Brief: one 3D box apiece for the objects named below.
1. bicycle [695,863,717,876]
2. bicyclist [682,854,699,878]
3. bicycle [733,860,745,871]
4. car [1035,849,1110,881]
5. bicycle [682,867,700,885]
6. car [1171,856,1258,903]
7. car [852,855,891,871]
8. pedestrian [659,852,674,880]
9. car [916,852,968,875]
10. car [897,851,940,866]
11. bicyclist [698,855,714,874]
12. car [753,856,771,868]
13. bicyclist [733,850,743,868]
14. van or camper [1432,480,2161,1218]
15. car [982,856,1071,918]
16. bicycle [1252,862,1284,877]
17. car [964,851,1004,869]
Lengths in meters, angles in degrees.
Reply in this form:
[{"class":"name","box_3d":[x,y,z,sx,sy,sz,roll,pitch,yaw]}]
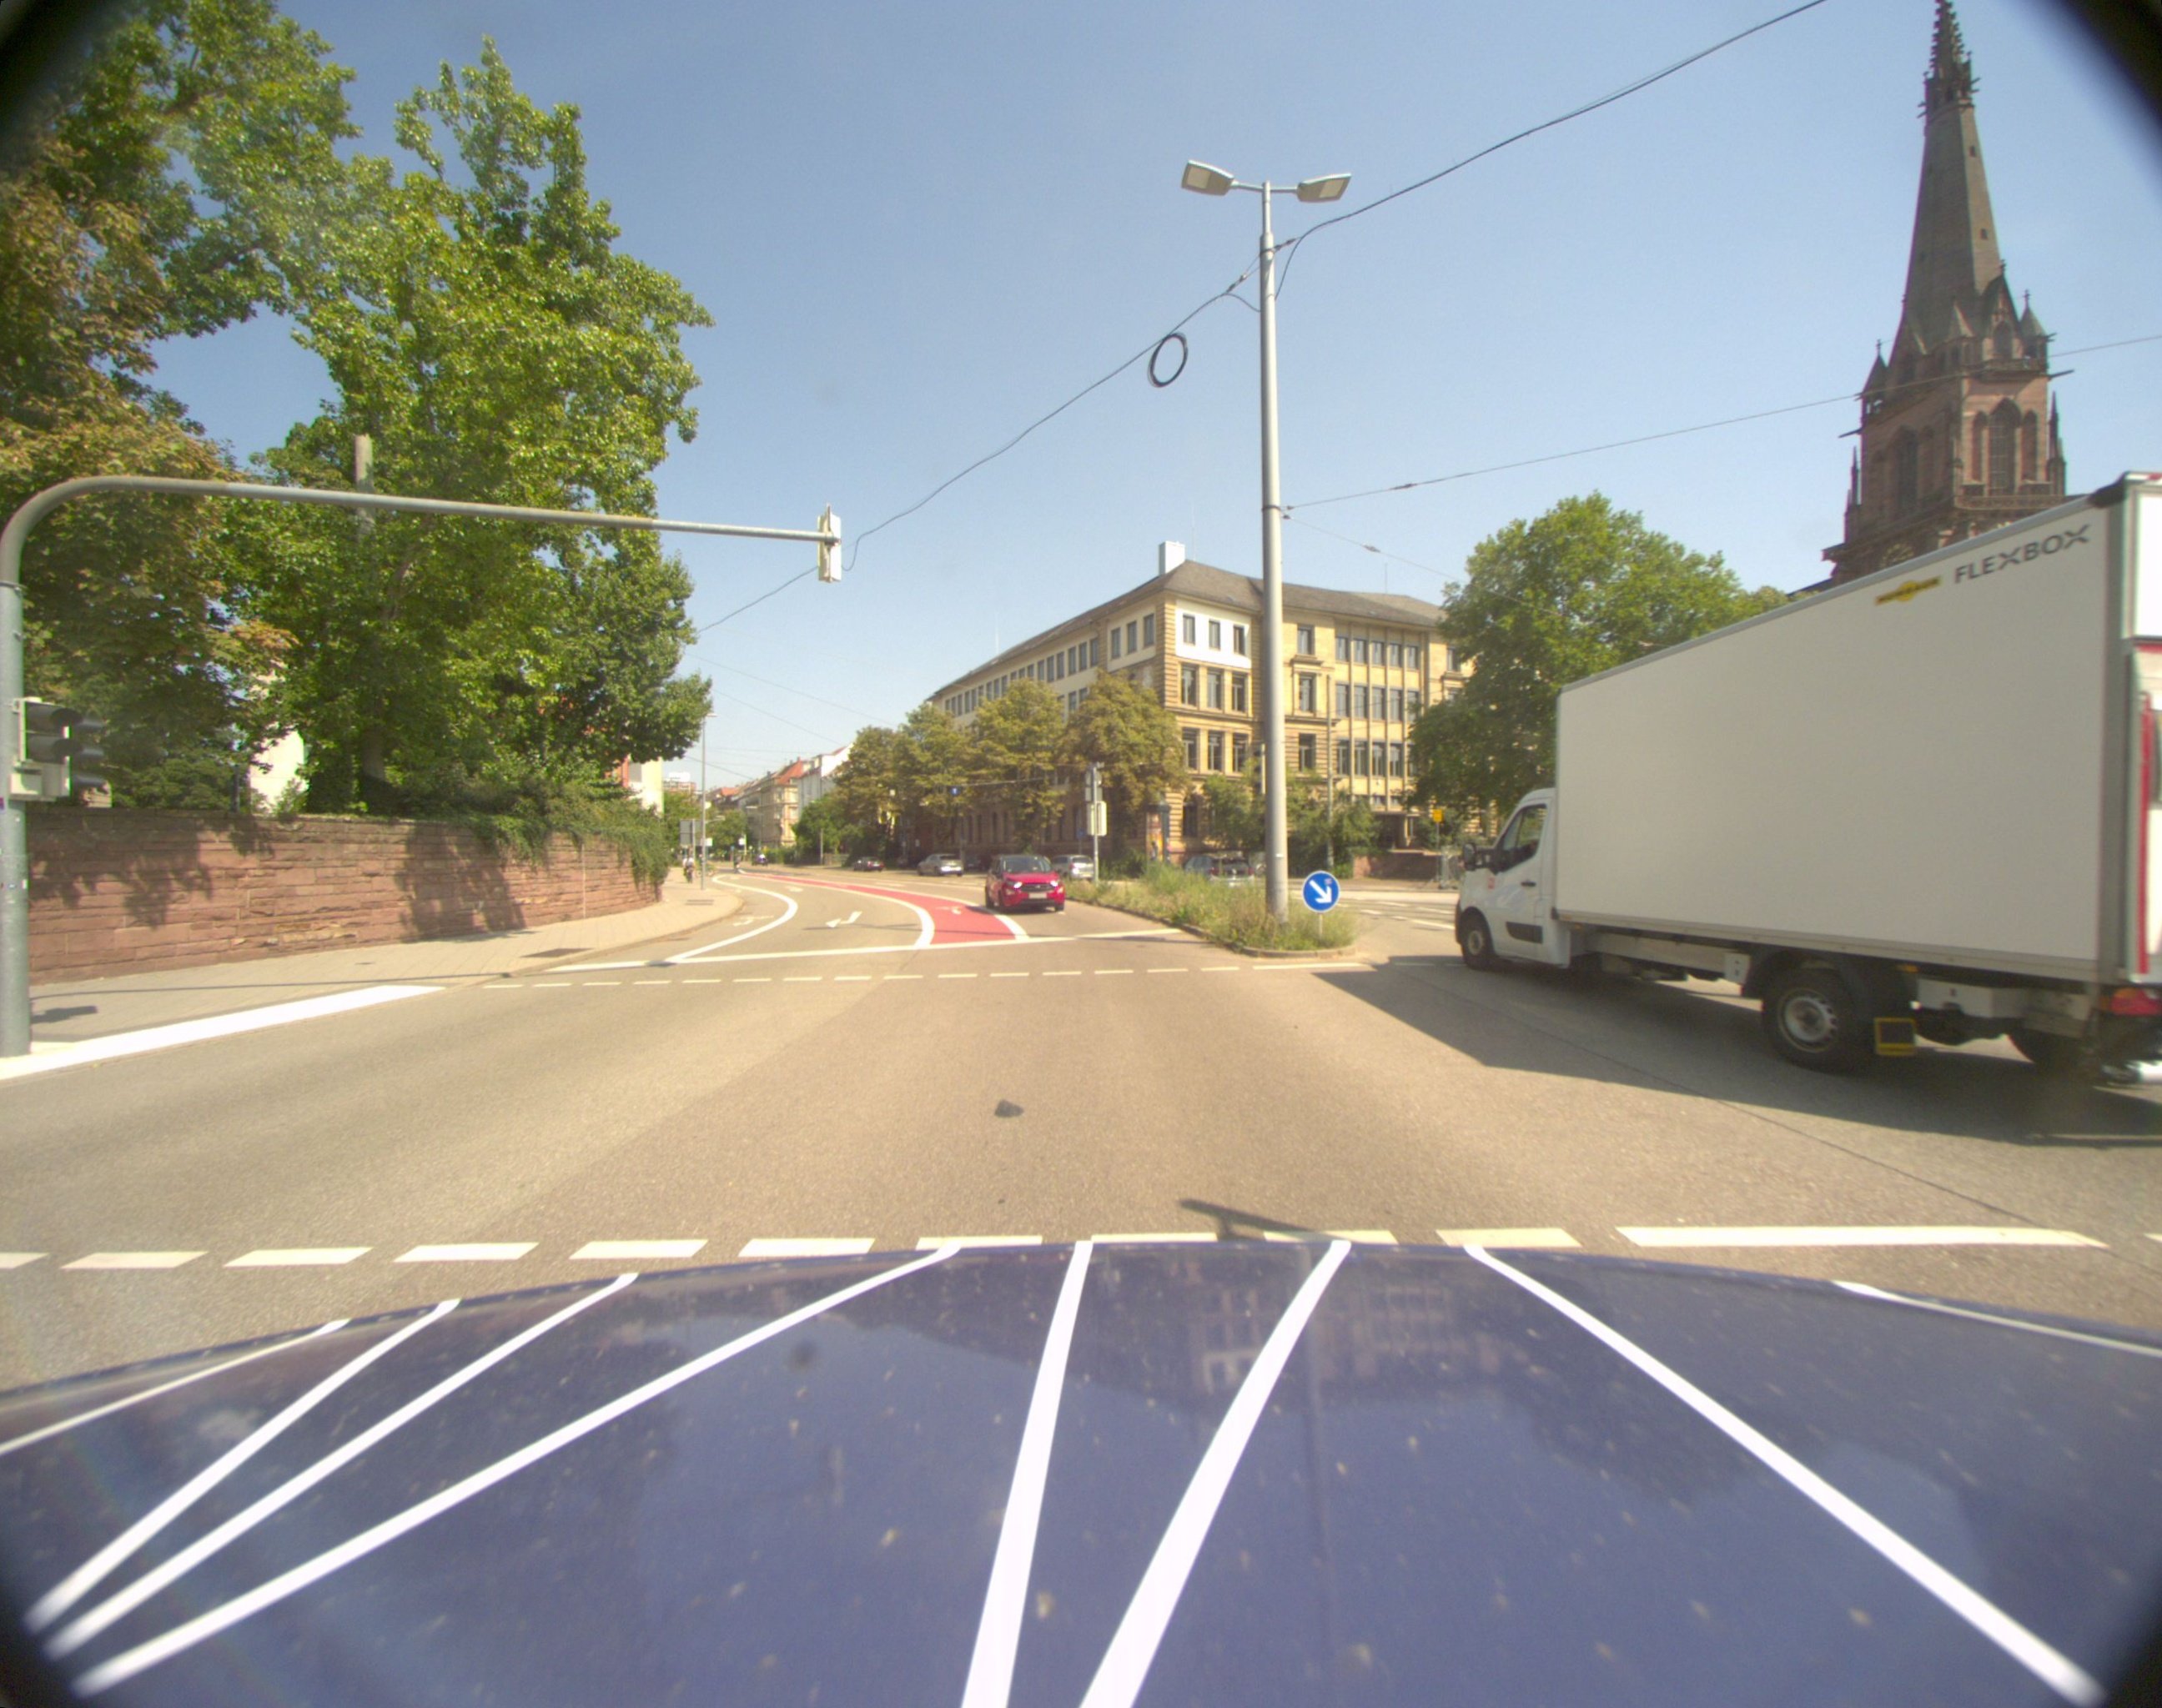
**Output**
[{"class":"bicycle","box_3d":[-29.974,1.242,60.736,0.615,0.994,1.713,0,-1,13]},{"class":"bicyclist","box_3d":[-23.322,0.738,45.375,0.748,1.403,0.959,-1,1,-33]},{"class":"bicycle","box_3d":[-30.806,1.013,68.357,0.617,0.994,1.706,0,0,-37]},{"class":"car","box_3d":[-0.498,0.521,38.826,1.659,1.521,4.314,-1,0,-35]},{"class":"bicycle","box_3d":[-23.373,1.301,45.507,0.743,1.043,2.227,-1,0,-33]},{"class":"car","box_3d":[4.696,0.848,27.292,1.702,1.521,4.179,0,0,-11]},{"class":"car","box_3d":[-18.868,0.819,68.290,1.696,1.370,4.605,-1,0,-38]},{"class":"pedestrian","box_3d":[-24.305,0.691,44.528,0.731,1.656,0.877,-1,1,-31]},{"class":"car","box_3d":[-9.912,0.646,54.029,1.781,1.601,4.661,-1,0,-36]},{"class":"car","box_3d":[-16.962,0.462,79.372,1.816,1.453,4.437,-1,1,30]},{"class":"bicyclist","box_3d":[-29.965,0.863,60.740,0.627,1.530,0.905,2,-1,13]},{"class":"car","box_3d":[-45.189,1.141,107.610,1.699,1.645,3.572,-2,1,-33]},{"class":"bicyclist","box_3d":[-30.867,0.478,68.442,0.629,1.589,0.990,-1,1,-36]},{"class":"van or camper","box_3d":[6.034,-0.034,6.881,2.406,3.287,7.190,0,0,0]},{"class":"car","box_3d":[-1.659,0.857,21.706,1.818,1.542,4.015,-1,0,-15]},{"class":"bicycle","box_3d":[11.634,0.969,47.202,2.184,0.889,0.748,0,0,-37]},{"class":"car","box_3d":[-8.473,0.479,66.726,1.817,1.487,4.170,-1,0,20]}]
